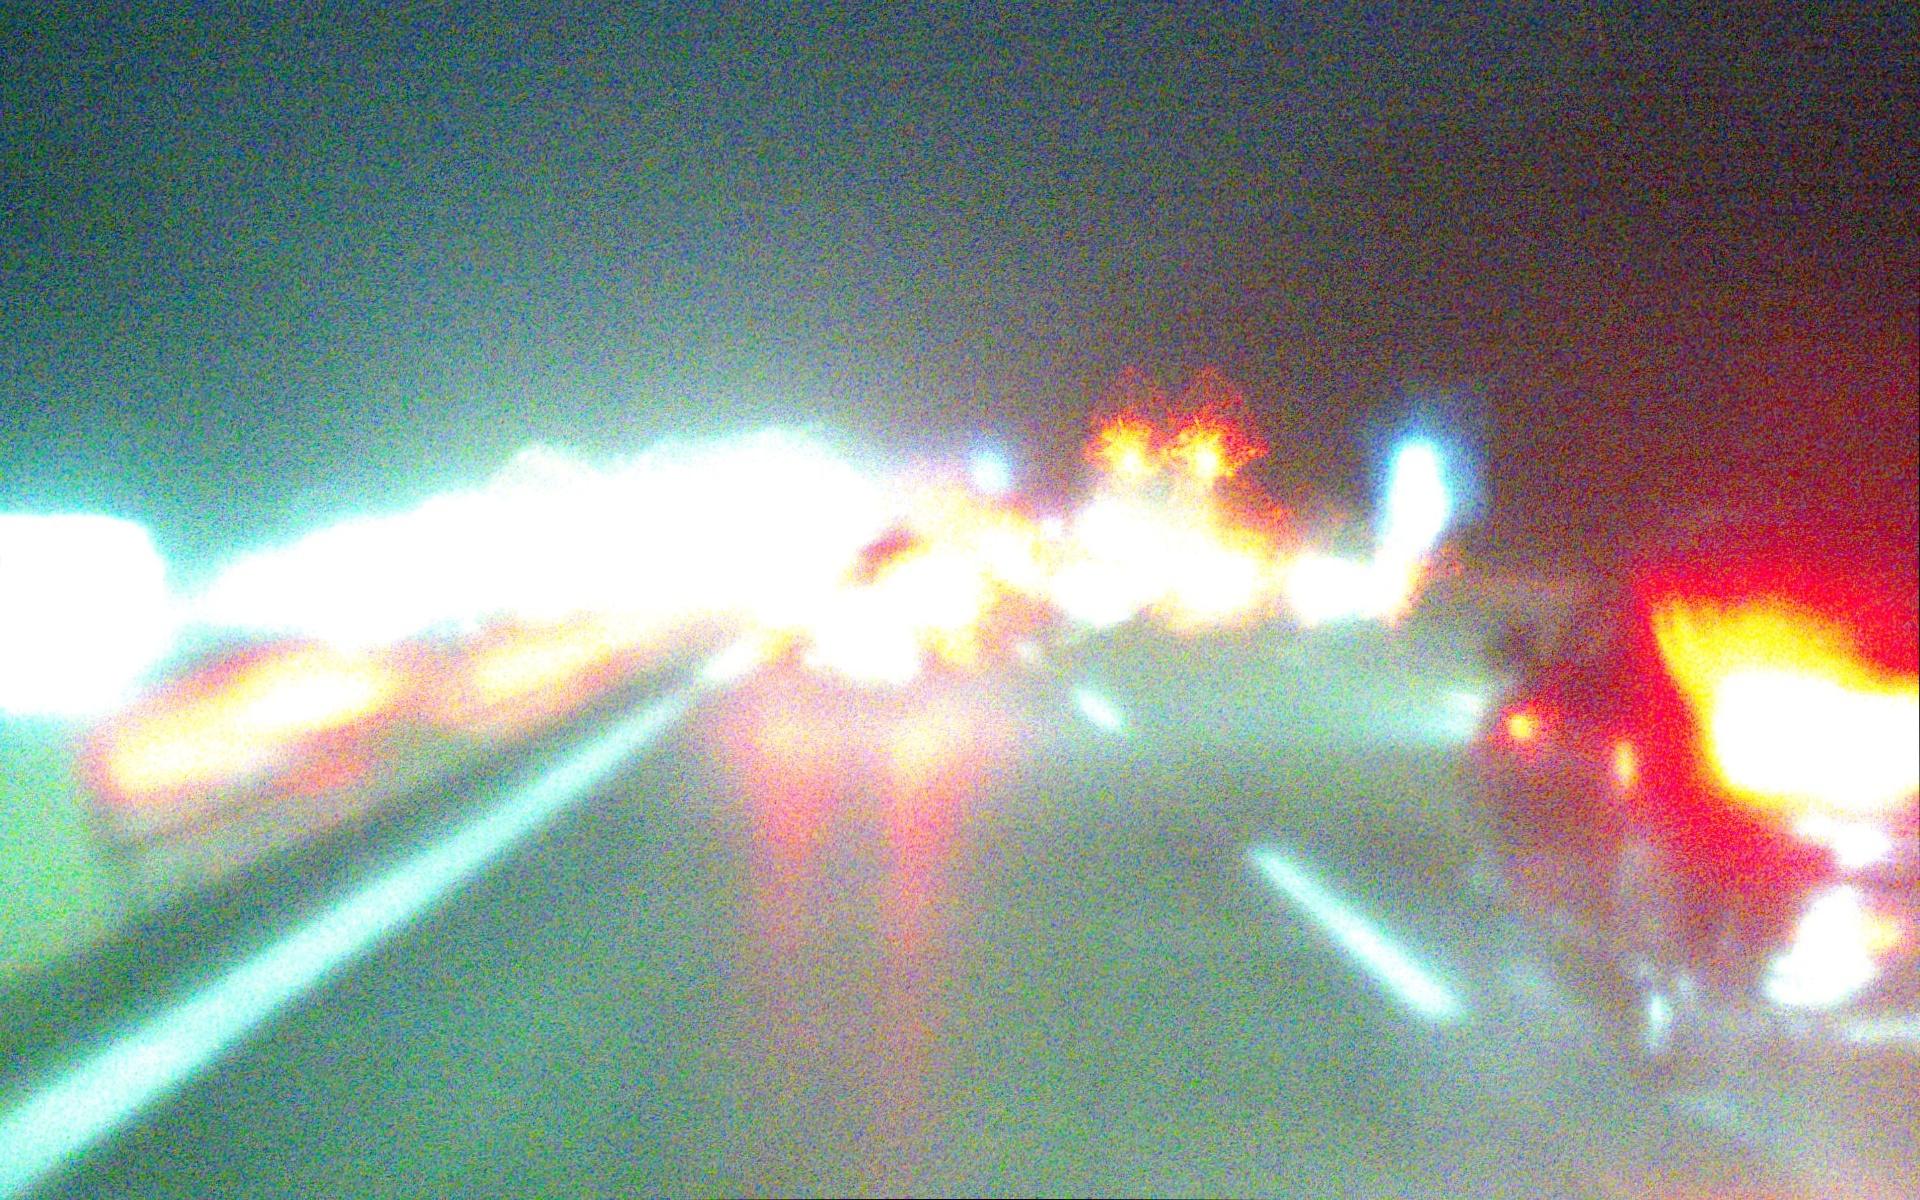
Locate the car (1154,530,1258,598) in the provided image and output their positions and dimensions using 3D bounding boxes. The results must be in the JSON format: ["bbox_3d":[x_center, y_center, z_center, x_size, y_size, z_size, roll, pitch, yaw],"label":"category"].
[{"bbox_3d":[5.757,-0.876,80.910,1.894,1.481,4.963,1,2,-2],"label":"car"}]

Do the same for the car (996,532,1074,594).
[{"bbox_3d":[1.973,-1.000,91.200,1.884,1.583,4.000,0,1,-1],"label":"car"}]

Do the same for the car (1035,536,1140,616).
[{"bbox_3d":[2.291,-0.453,62.511,1.612,1.407,3.792,0,1,-2],"label":"car"}]

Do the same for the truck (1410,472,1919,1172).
[{"bbox_3d":[2.690,0.509,10.765,1.843,1.690,4.855,1,1,-1],"label":"truck"}]

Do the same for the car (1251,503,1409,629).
[{"bbox_3d":[6.262,-0.631,58.787,2.046,1.967,5.407,-2,2,0],"label":"car"}]

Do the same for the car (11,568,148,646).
[{"bbox_3d":[-17.727,0.118,69.412,1.782,1.417,4.354,-2,1,-3],"label":"car"}]

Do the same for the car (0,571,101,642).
[{"bbox_3d":[-22.129,0.123,81.992,1.893,1.577,5.371,1,1,0],"label":"car"}]

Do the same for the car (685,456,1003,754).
[{"bbox_3d":[-1.147,-0.039,33.253,2.709,2.525,5.832,-2,2,-2],"label":"car"}]

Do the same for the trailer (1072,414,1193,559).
[{"bbox_3d":[5.180,-3.406,105.388,2.803,4.197,12.098,0,1,-1],"label":"trailer"}]
